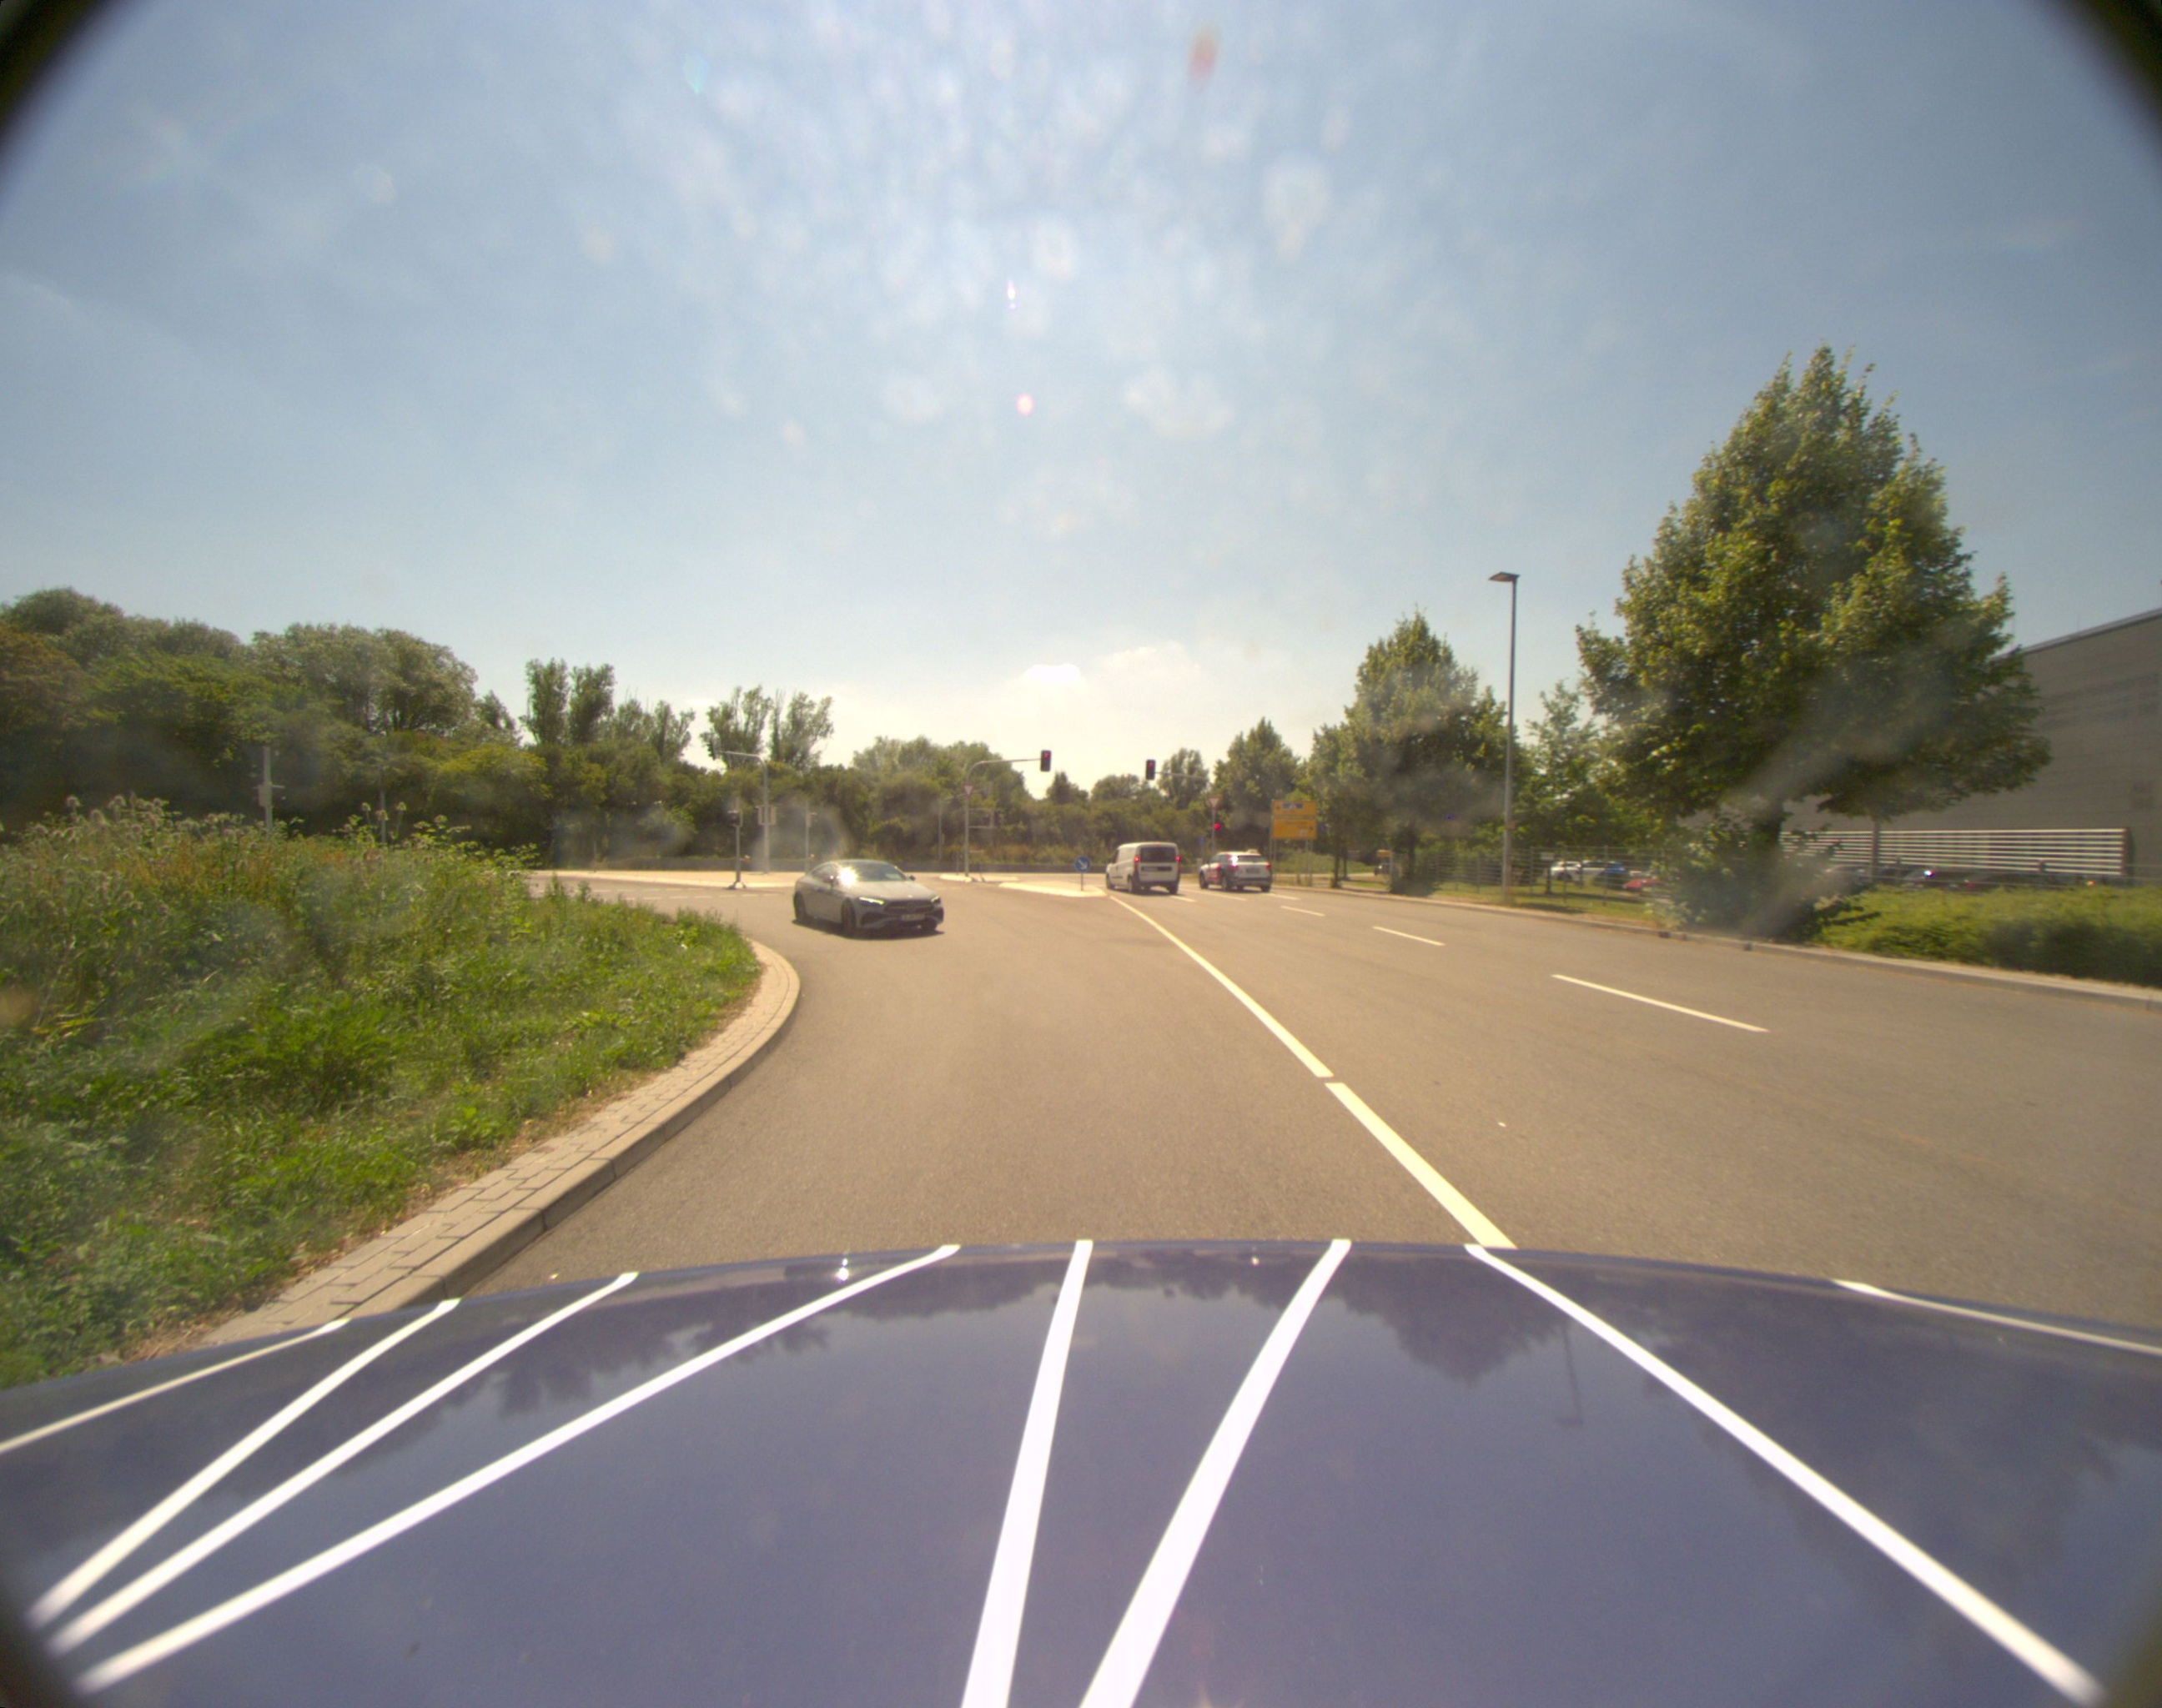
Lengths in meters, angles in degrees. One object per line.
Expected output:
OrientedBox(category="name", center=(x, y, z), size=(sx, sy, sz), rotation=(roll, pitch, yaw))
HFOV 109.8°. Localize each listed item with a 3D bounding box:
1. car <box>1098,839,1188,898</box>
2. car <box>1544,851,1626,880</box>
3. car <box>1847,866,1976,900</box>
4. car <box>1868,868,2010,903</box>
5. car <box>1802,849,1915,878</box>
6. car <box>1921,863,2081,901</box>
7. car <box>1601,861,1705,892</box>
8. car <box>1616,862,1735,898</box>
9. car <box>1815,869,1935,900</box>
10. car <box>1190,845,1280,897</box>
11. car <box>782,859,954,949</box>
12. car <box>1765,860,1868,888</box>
OrientedBox(category="car", center=(2.241, 0.457, 29.053), size=(2.000, 1.932, 4.864), rotation=(-3, 3, -12))
OrientedBox(category="car", center=(32.890, 0.739, 49.719), size=(3.991, 1.695, 2.003), rotation=(2, -1, 17))
OrientedBox(category="car", center=(41.789, 1.426, 38.326), size=(3.991, 1.519, 1.823), rotation=(2, -1, 17))
OrientedBox(category="car", center=(40.726, 1.471, 36.194), size=(3.991, 1.477, 2.003), rotation=(2, -1, 17))
OrientedBox(category="car", center=(43.775, 0.569, 42.891), size=(3.992, 1.507, 1.923), rotation=(-2, -2, 17))
OrientedBox(category="car", center=(40.043, 1.207, 33.216), size=(3.991, 1.477, 2.003), rotation=(2, -1, 17))
OrientedBox(category="car", center=(30.697, 1.206, 40.882), size=(3.991, 1.477, 2.003), rotation=(2, -1, 17))
OrientedBox(category="car", center=(28.285, 1.221, 36.279), size=(3.991, 1.477, 2.003), rotation=(2, -1, 17))
OrientedBox(category="car", center=(42.657, 1.617, 40.951), size=(3.991, 1.477, 2.003), rotation=(2, -1, 17))
OrientedBox(category="car", center=(5.911, 0.606, 29.595), size=(2.000, 1.698, 3.859), rotation=(-3, 3, -12))
OrientedBox(category="car", center=(-4.668, 0.924, 16.187), size=(1.926, 1.434, 4.468), rotation=(-3, 3, -38))
OrientedBox(category="car", center=(44.478, 1.207, 46.074), size=(3.991, 1.477, 2.003), rotation=(2, -1, 17))
